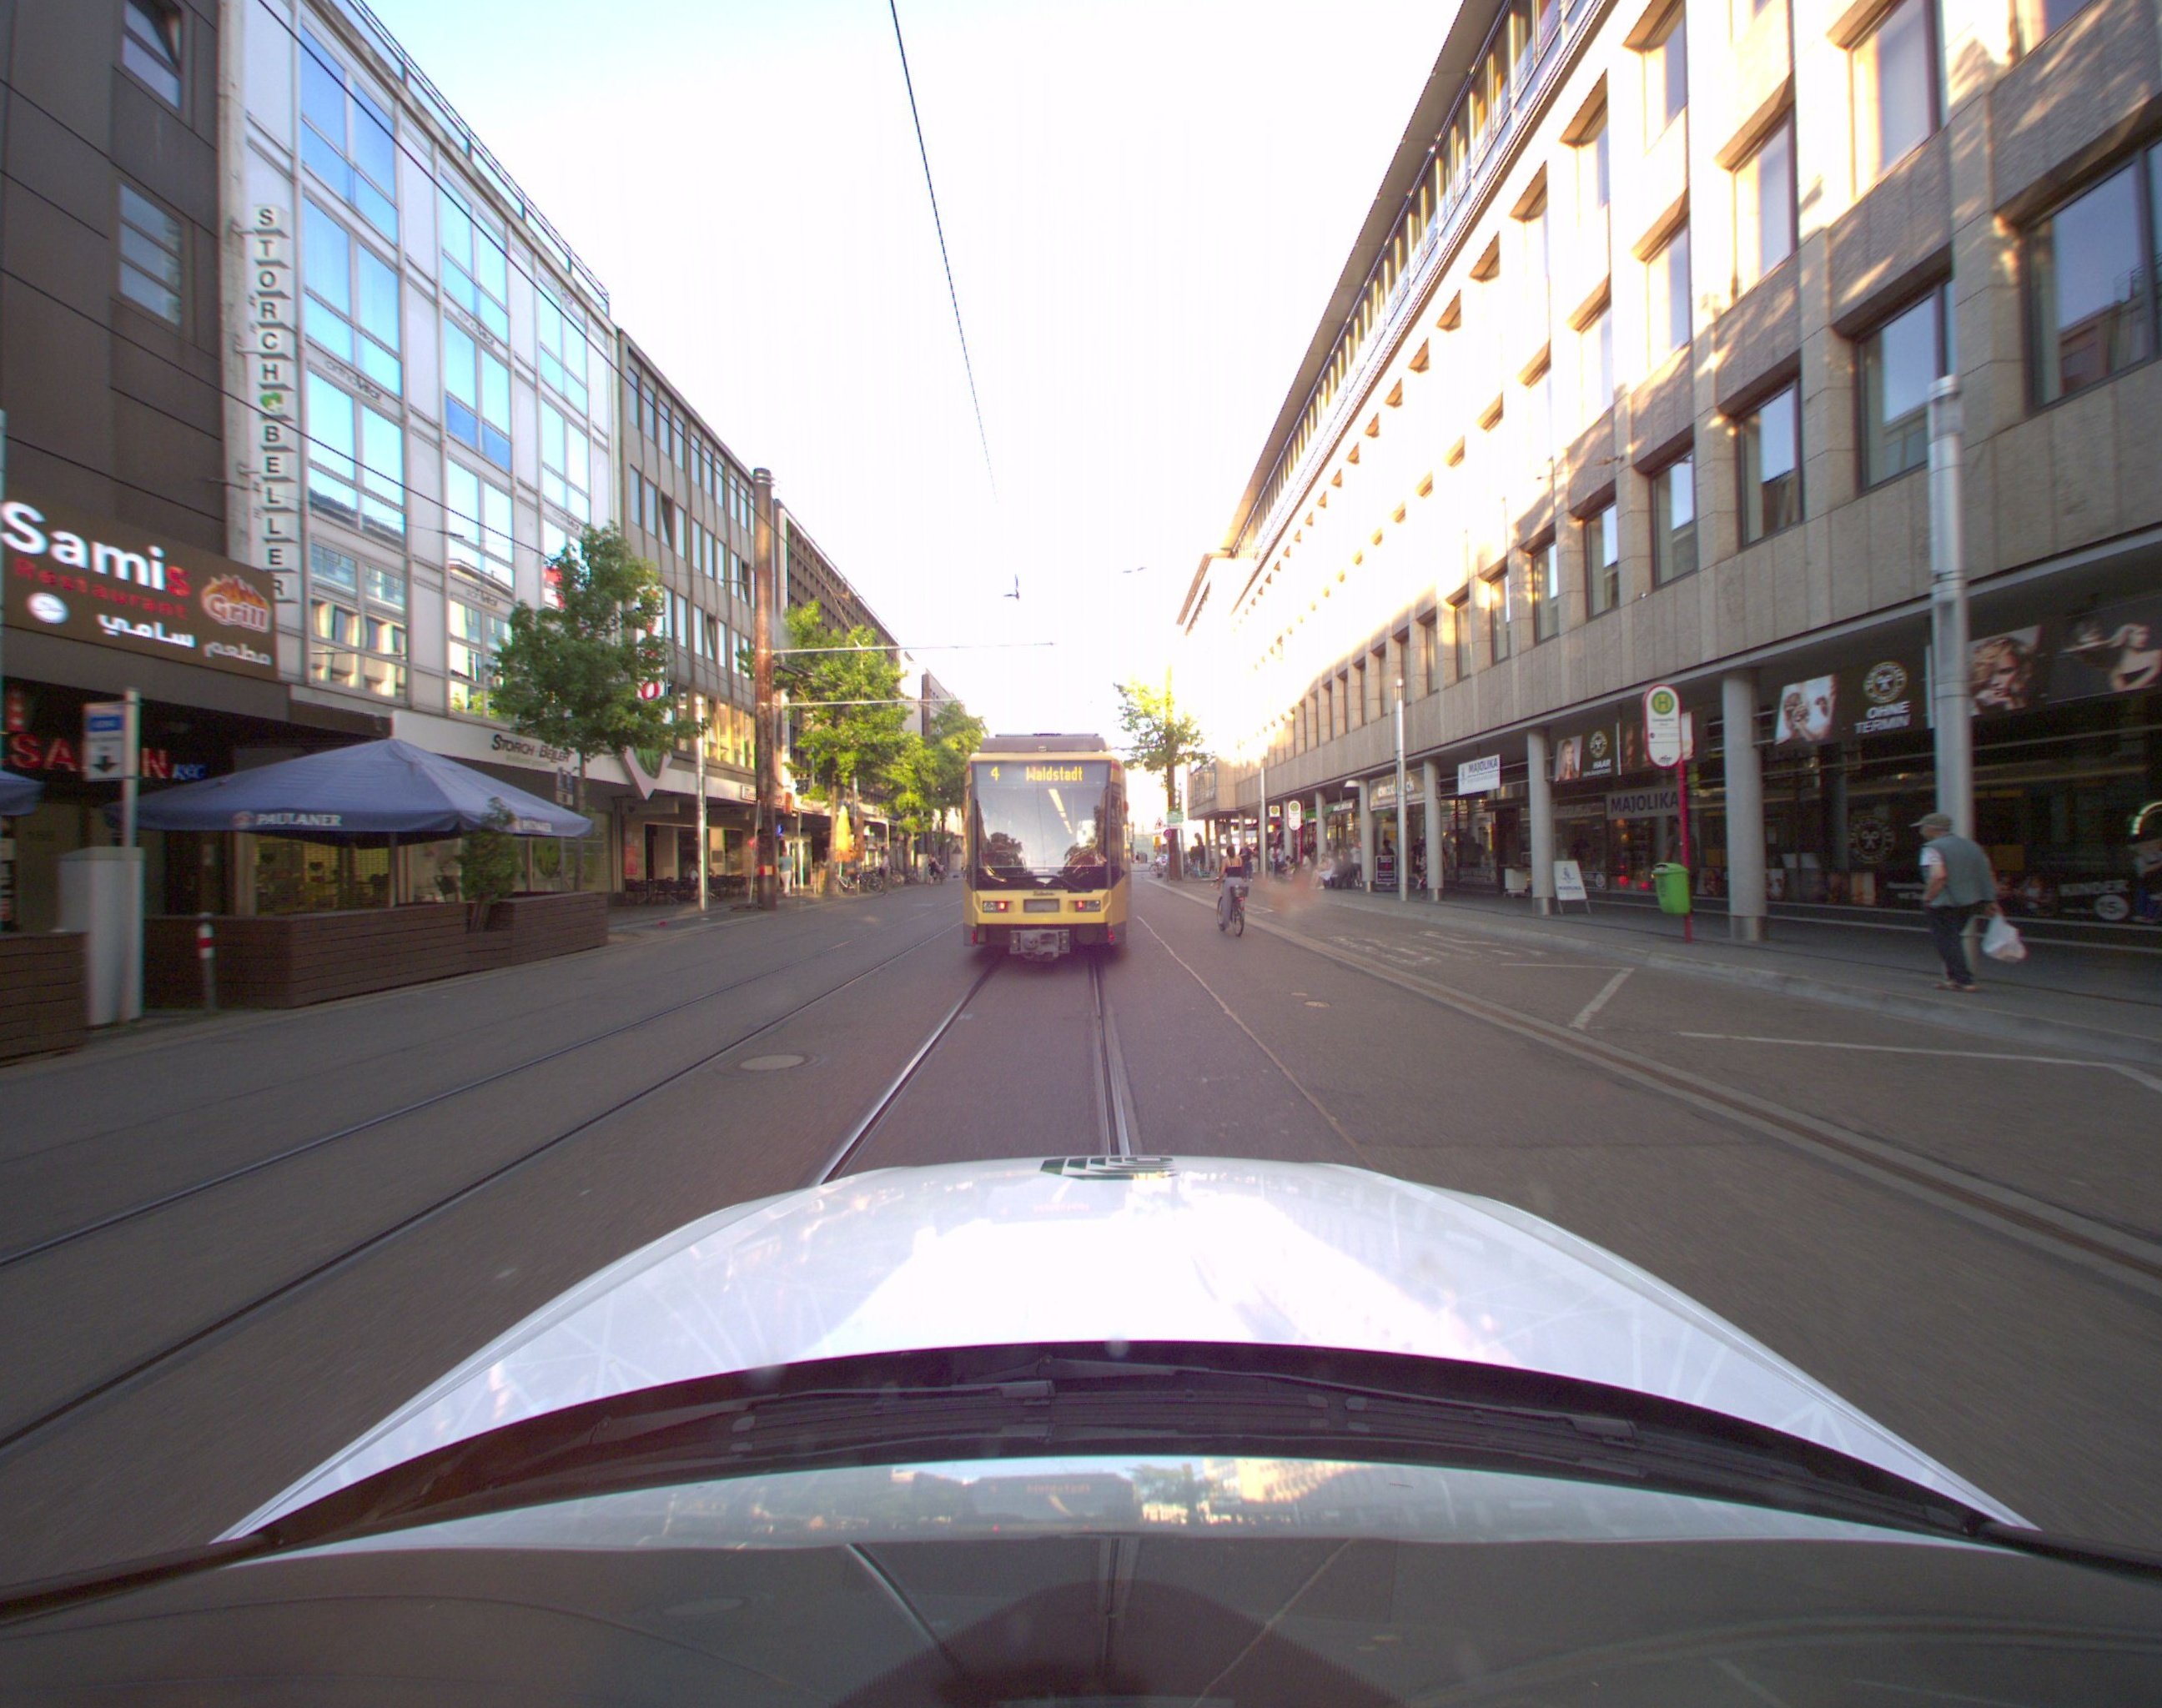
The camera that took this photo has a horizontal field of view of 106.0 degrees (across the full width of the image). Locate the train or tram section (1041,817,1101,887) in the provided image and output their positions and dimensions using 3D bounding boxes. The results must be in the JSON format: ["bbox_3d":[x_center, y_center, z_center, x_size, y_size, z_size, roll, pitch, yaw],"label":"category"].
[{"bbox_3d":[-0.492,-0.111,46.644,2.791,3.319,14.505,-1,0,0],"label":"train or tram section"}]

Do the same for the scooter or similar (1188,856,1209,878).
[{"bbox_3d":[7.003,0.765,48.654,1.195,1.251,0.389,-3,0,-30],"label":"scooter or similar"}]

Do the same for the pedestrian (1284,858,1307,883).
[{"bbox_3d":[9.071,0.694,34.481,0.810,1.042,0.544,-1,-1,1],"label":"pedestrian"}]

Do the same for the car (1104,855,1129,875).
[{"bbox_3d":[2.680,0.844,61.259,1.762,1.409,4.055,-1,-1,3],"label":"car"}]

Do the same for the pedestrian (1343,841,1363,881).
[{"bbox_3d":[11.743,0.301,35.189,0.568,1.731,0.617,-2,-1,-1],"label":"pedestrian"}]

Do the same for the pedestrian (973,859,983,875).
[{"bbox_3d":[-9.442,1.229,74.527,0.548,1.434,0.689,-2,-2,38],"label":"pedestrian"}]

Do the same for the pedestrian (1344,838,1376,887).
[{"bbox_3d":[10.501,0.308,30.645,0.841,1.797,0.859,-2,-1,0],"label":"pedestrian"}]

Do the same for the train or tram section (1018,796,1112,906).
[{"bbox_3d":[-0.485,-0.098,32.125,2.791,3.319,14.505,-1,0,0],"label":"train or tram section"}]

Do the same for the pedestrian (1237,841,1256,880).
[{"bbox_3d":[7.794,0.307,38.367,0.666,1.839,0.708,-2,-1,0],"label":"pedestrian"}]

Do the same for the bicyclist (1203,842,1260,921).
[{"bbox_3d":[2.956,0.530,16.076,0.993,1.502,0.857,0,0,0],"label":"bicyclist"}]

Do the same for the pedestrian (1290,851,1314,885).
[{"bbox_3d":[9.164,0.565,33.756,0.810,1.381,0.662,-1,-1,1],"label":"pedestrian"}]

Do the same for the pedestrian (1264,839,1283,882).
[{"bbox_3d":[8.348,0.273,35.349,0.637,1.839,0.668,-2,-1,1],"label":"pedestrian"}]

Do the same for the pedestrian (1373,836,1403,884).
[{"bbox_3d":[11.639,0.233,30.865,0.770,1.772,0.773,-2,-1,-1],"label":"pedestrian"}]

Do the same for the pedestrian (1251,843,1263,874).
[{"bbox_3d":[10.684,0.265,49.424,0.537,1.806,0.604,-2,-1,-1],"label":"pedestrian"}]

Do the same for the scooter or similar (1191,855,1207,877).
[{"bbox_3d":[7.130,0.741,49.277,0.388,1.251,1.199,-2,0,38],"label":"scooter or similar"}]

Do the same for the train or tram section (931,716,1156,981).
[{"bbox_3d":[-0.484,-0.083,17.642,2.791,3.319,14.505,-1,0,0],"label":"train or tram section"}]

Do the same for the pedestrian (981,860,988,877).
[{"bbox_3d":[-8.396,1.265,70.910,0.603,1.494,0.554,-1,-1,-8],"label":"pedestrian"}]

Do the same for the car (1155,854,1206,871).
[{"bbox_3d":[8.388,0.728,68.504,3.905,1.409,1.762,0,-1,-23],"label":"car"}]

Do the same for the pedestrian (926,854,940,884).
[{"bbox_3d":[-8.368,0.842,46.047,0.595,1.699,0.539,-1,0,29],"label":"pedestrian"}]

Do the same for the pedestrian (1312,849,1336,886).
[{"bbox_3d":[8.869,0.483,29.789,0.715,1.314,0.524,-1,-1,1],"label":"pedestrian"}]

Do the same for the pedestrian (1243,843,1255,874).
[{"bbox_3d":[10.146,0.270,49.238,0.537,1.806,0.604,-2,-1,-1],"label":"pedestrian"}]

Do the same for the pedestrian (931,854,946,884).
[{"bbox_3d":[-7.951,0.833,45.526,0.595,1.699,0.539,-1,0,29],"label":"pedestrian"}]

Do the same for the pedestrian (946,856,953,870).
[{"bbox_3d":[-16.445,1.143,102.085,0.712,1.725,0.709,-1,-1,-2],"label":"pedestrian"}]

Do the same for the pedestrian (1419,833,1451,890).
[{"bbox_3d":[12.040,0.239,27.709,0.685,1.883,0.773,-2,-1,-1],"label":"pedestrian"}]

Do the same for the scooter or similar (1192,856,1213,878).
[{"bbox_3d":[7.129,0.770,47.888,1.119,1.251,0.492,-3,0,-30],"label":"scooter or similar"}]

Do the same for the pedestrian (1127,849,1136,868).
[{"bbox_3d":[4.601,0.449,74.465,0.715,1.725,0.709,-1,-1,1],"label":"pedestrian"}]

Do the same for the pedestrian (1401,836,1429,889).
[{"bbox_3d":[11.380,0.292,27.769,0.580,1.753,0.773,-2,-1,-1],"label":"pedestrian"}]

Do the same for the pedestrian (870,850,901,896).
[{"bbox_3d":[-7.831,0.761,32.604,0.827,1.792,0.978,0,-1,-42],"label":"pedestrian"}]

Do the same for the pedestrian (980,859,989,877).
[{"bbox_3d":[-8.492,1.232,71.402,0.686,1.542,0.602,-1,-1,-17],"label":"pedestrian"}]

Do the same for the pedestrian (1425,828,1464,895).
[{"bbox_3d":[10.504,0.214,23.572,0.704,1.889,0.796,-2,-1,1],"label":"pedestrian"}]

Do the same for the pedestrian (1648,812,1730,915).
[{"bbox_3d":[11.721,0.180,15.739,0.841,1.889,0.899,-2,-1,0],"label":"pedestrian"}]

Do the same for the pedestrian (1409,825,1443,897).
[{"bbox_3d":[9.499,0.201,22.455,0.576,1.944,0.655,-2,-1,0],"label":"pedestrian"}]

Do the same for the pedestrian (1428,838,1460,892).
[{"bbox_3d":[11.523,0.353,25.873,0.646,1.661,0.681,-2,0,1],"label":"pedestrian"}]

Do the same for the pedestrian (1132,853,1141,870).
[{"bbox_3d":[6.139,0.844,90.419,0.735,1.823,0.816,-1,0,-14],"label":"pedestrian"}]

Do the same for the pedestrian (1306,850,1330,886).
[{"bbox_3d":[8.821,0.532,30.327,0.715,1.314,0.532,-1,-1,1],"label":"pedestrian"}]

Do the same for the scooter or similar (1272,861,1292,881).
[{"bbox_3d":[8.860,0.752,35.866,0.827,0.884,0.689,0,-1,14],"label":"scooter or similar"}]
